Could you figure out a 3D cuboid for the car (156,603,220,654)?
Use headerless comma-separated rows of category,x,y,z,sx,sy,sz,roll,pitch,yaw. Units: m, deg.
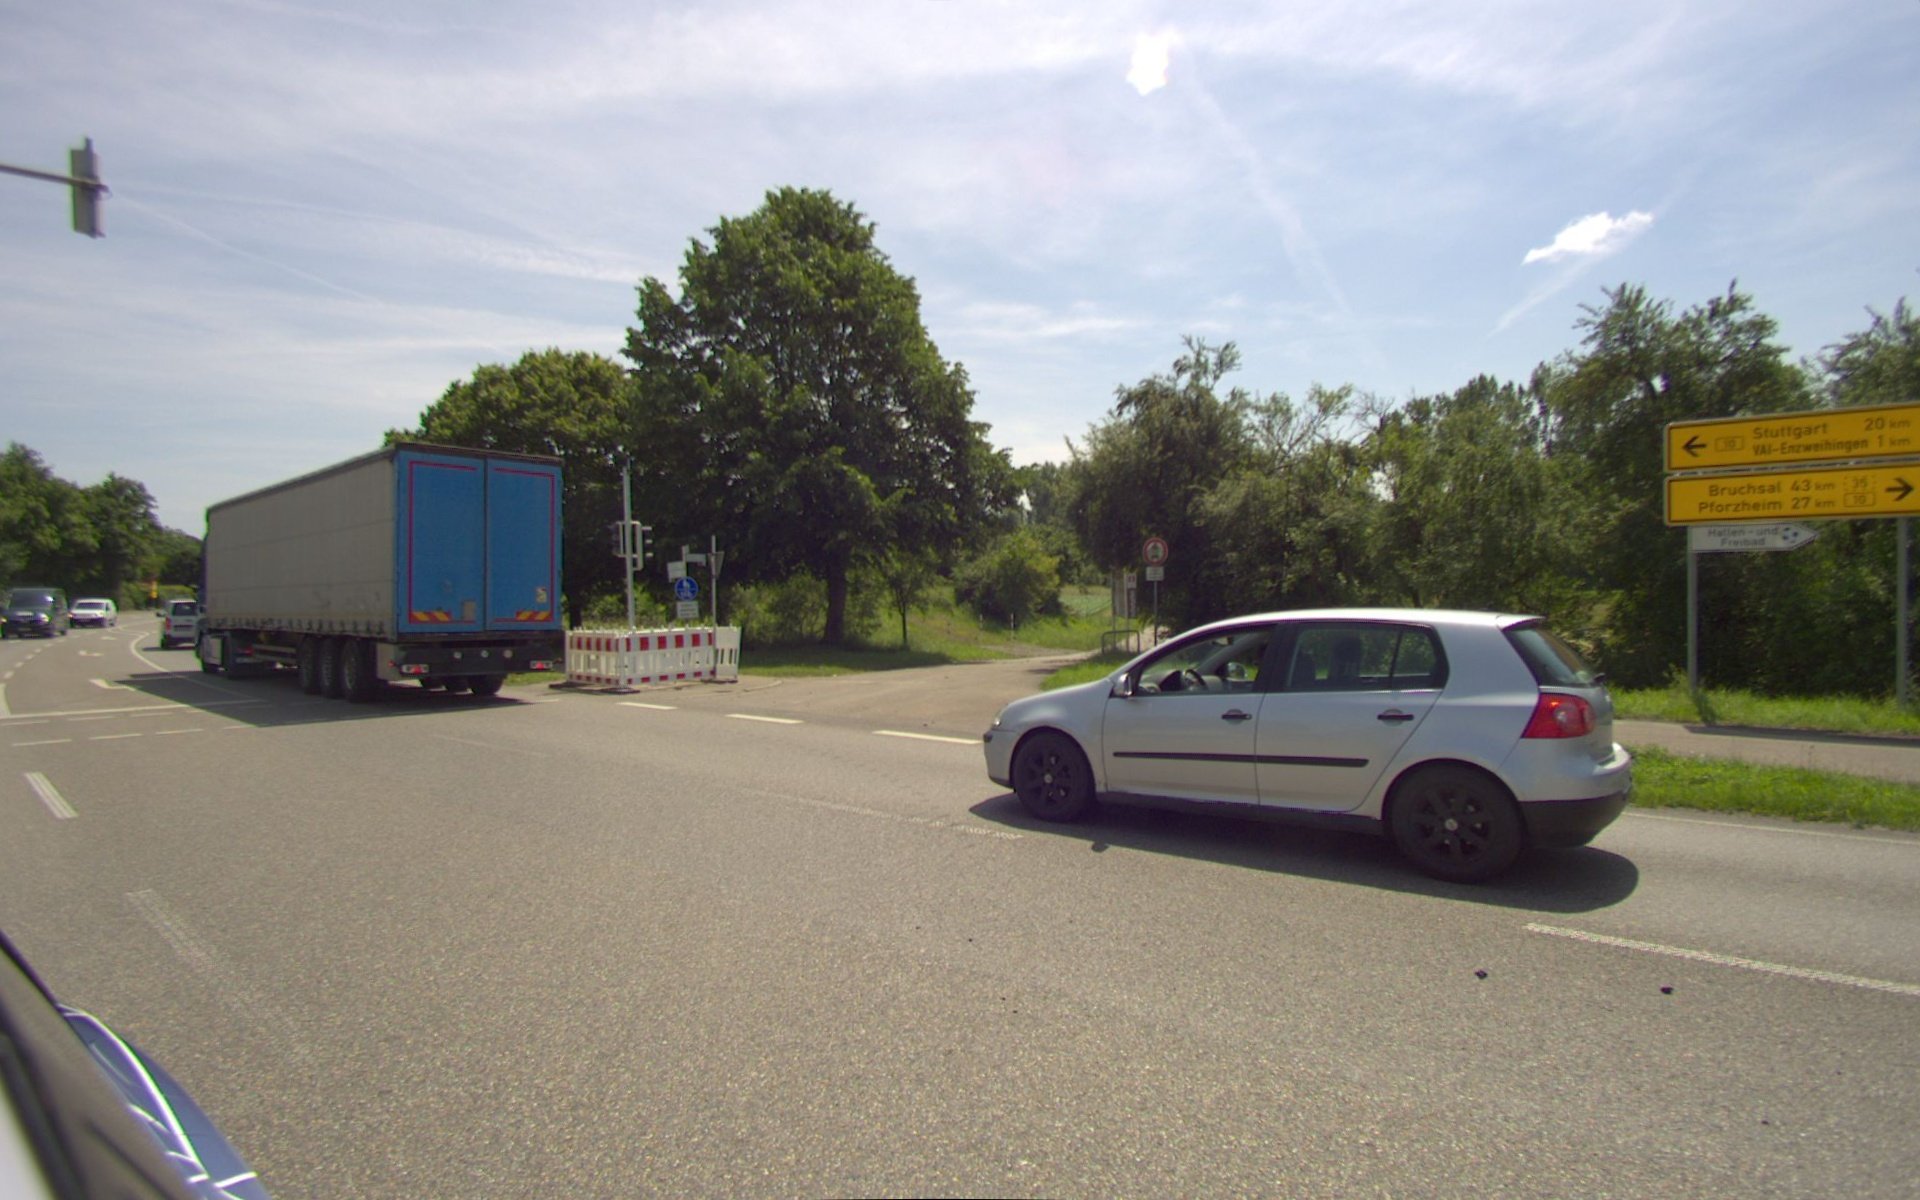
car,-30.894,1.111,40.446,1.847,1.900,4.960,1,-1,-39

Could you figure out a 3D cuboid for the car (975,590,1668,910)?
car,2.207,0.743,6.702,3.994,1.507,1.754,-1,-2,38

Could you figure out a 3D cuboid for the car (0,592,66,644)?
car,-47.178,0.848,51.523,1.949,2.538,4.168,0,1,-34

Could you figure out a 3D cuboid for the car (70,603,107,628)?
car,-56.670,0.986,65.807,1.757,1.504,4.163,0,1,-41

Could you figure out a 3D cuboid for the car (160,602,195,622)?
car,-72.456,1.106,93.751,1.779,1.746,4.013,-1,-1,-25

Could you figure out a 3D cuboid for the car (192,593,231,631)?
car,-50.737,0.835,68.651,2.024,2.470,5.281,1,-1,-35

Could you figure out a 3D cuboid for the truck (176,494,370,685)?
truck,-16.901,-0.201,24.714,6.560,4.060,2.538,-1,-1,43

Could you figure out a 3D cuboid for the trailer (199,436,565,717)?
trailer,-12.230,-0.283,20.243,13.596,4.060,2.538,-1,-1,43
